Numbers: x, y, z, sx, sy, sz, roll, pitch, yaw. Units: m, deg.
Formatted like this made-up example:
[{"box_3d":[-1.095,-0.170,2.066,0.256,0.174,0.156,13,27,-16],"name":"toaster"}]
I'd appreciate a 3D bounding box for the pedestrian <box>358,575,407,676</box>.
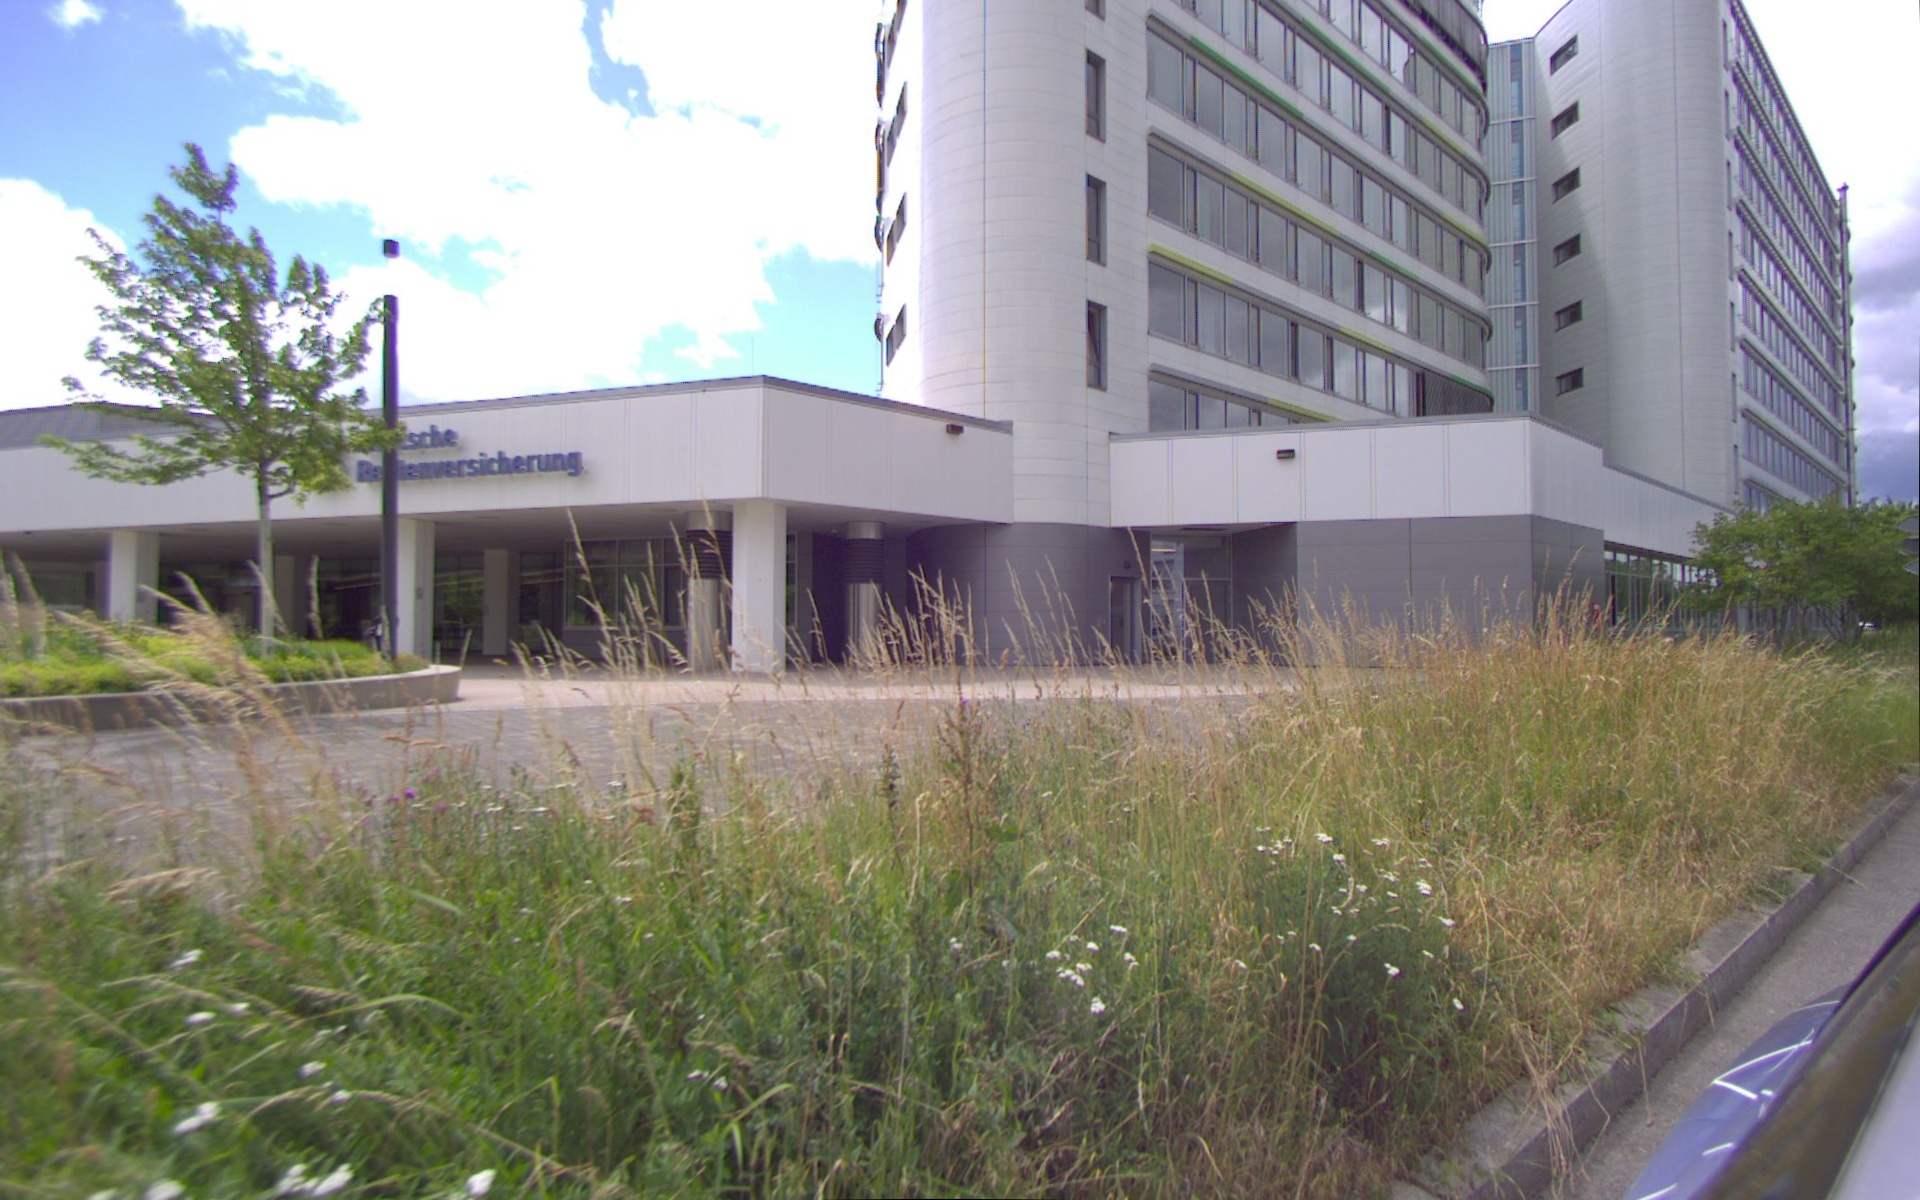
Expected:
[{"box_3d":[-11.887,0.512,20.844,0.596,2.039,0.695,0,-1,0],"name":"pedestrian"}]
